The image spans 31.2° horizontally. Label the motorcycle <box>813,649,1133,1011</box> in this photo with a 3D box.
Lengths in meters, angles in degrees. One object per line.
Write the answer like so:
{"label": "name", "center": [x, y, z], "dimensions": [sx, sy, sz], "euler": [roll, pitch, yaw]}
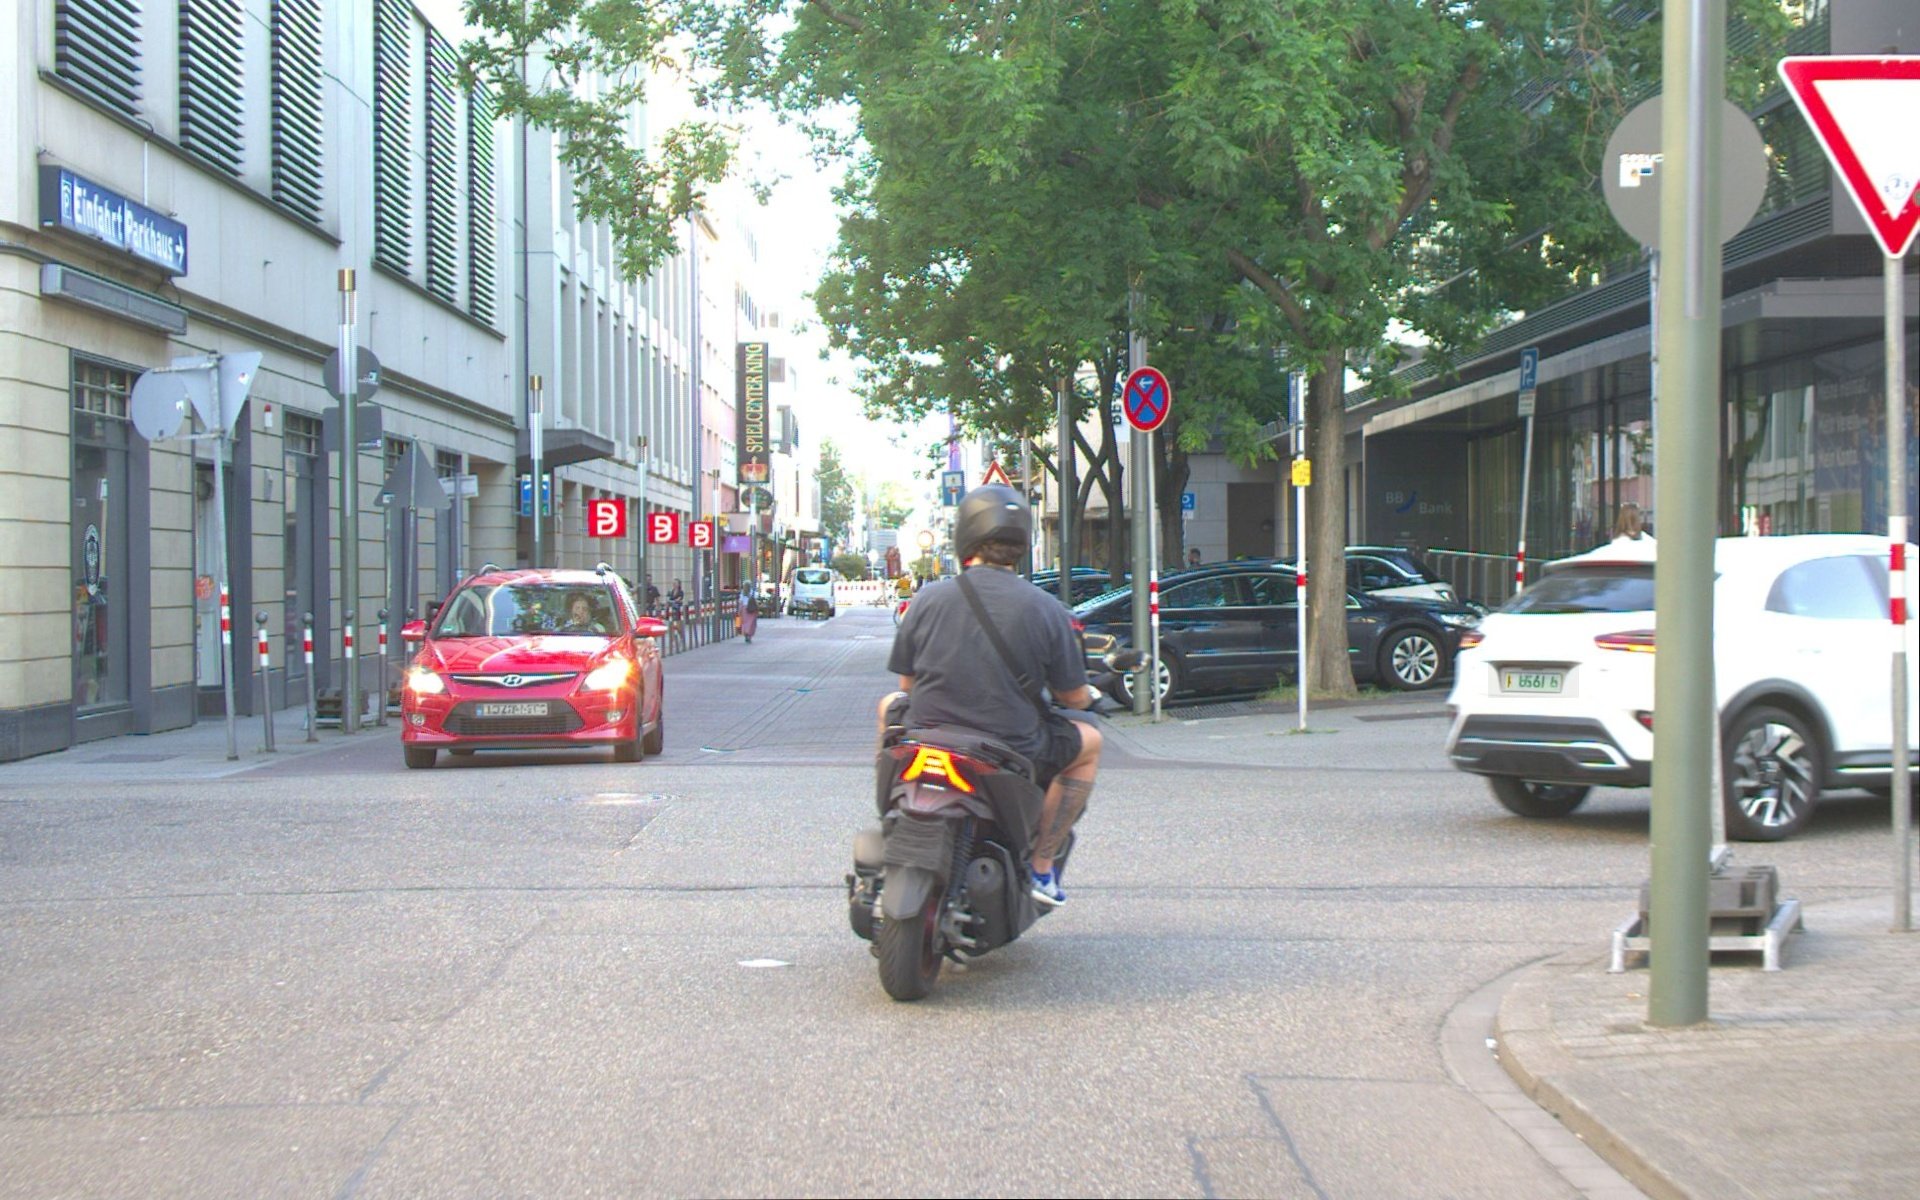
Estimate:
{"label": "motorcycle", "center": [0.084, 0.735, 11.727], "dimensions": [0.873, 1.105, 1.839], "euler": [0, 0, 7]}

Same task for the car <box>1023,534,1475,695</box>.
{"label": "car", "center": [3.353, 0.167, 40.571], "dimensions": [5.004, 1.494, 2.000], "euler": [-4, 0, -3]}

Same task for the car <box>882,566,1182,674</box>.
{"label": "car", "center": [1.215, 0.345, 59.965], "dimensions": [5.004, 1.494, 2.000], "euler": [-4, 0, -3]}

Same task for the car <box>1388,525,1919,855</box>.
{"label": "car", "center": [4.488, 0.381, 18.099], "dimensions": [4.250, 1.536, 1.828], "euler": [-1, 1, -33]}

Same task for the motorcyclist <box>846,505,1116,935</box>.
{"label": "motorcyclist", "center": [0.077, 0.395, 11.651], "dimensions": [0.867, 1.422, 0.455], "euler": [0, 0, 7]}

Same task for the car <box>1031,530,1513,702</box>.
{"label": "car", "center": [3.404, 0.176, 38.168], "dimensions": [5.004, 1.494, 2.000], "euler": [-4, 0, -3]}

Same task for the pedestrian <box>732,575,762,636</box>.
{"label": "pedestrian", "center": [-5.529, 0.145, 89.358], "dimensions": [0.732, 1.568, 0.636], "euler": [0, 0, 0]}

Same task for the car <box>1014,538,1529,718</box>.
{"label": "car", "center": [3.162, 0.283, 35.674], "dimensions": [5.004, 1.447, 2.000], "euler": [-4, 0, -3]}

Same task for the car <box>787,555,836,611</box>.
{"label": "car", "center": [-6.419, -0.748, 148.282], "dimensions": [1.993, 2.321, 5.021], "euler": [1, 1, -3]}

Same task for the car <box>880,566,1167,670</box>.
{"label": "car", "center": [1.112, 0.320, 62.554], "dimensions": [5.004, 1.494, 2.000], "euler": [-4, 0, -3]}

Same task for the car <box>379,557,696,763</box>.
{"label": "car", "center": [-3.184, 0.472, 26.706], "dimensions": [1.822, 1.460, 4.263], "euler": [0, -1, 2]}

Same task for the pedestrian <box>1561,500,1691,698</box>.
{"label": "pedestrian", "center": [5.944, -0.007, 30.731], "dimensions": [0.905, 1.700, 0.834], "euler": [-3, 0, 1]}
